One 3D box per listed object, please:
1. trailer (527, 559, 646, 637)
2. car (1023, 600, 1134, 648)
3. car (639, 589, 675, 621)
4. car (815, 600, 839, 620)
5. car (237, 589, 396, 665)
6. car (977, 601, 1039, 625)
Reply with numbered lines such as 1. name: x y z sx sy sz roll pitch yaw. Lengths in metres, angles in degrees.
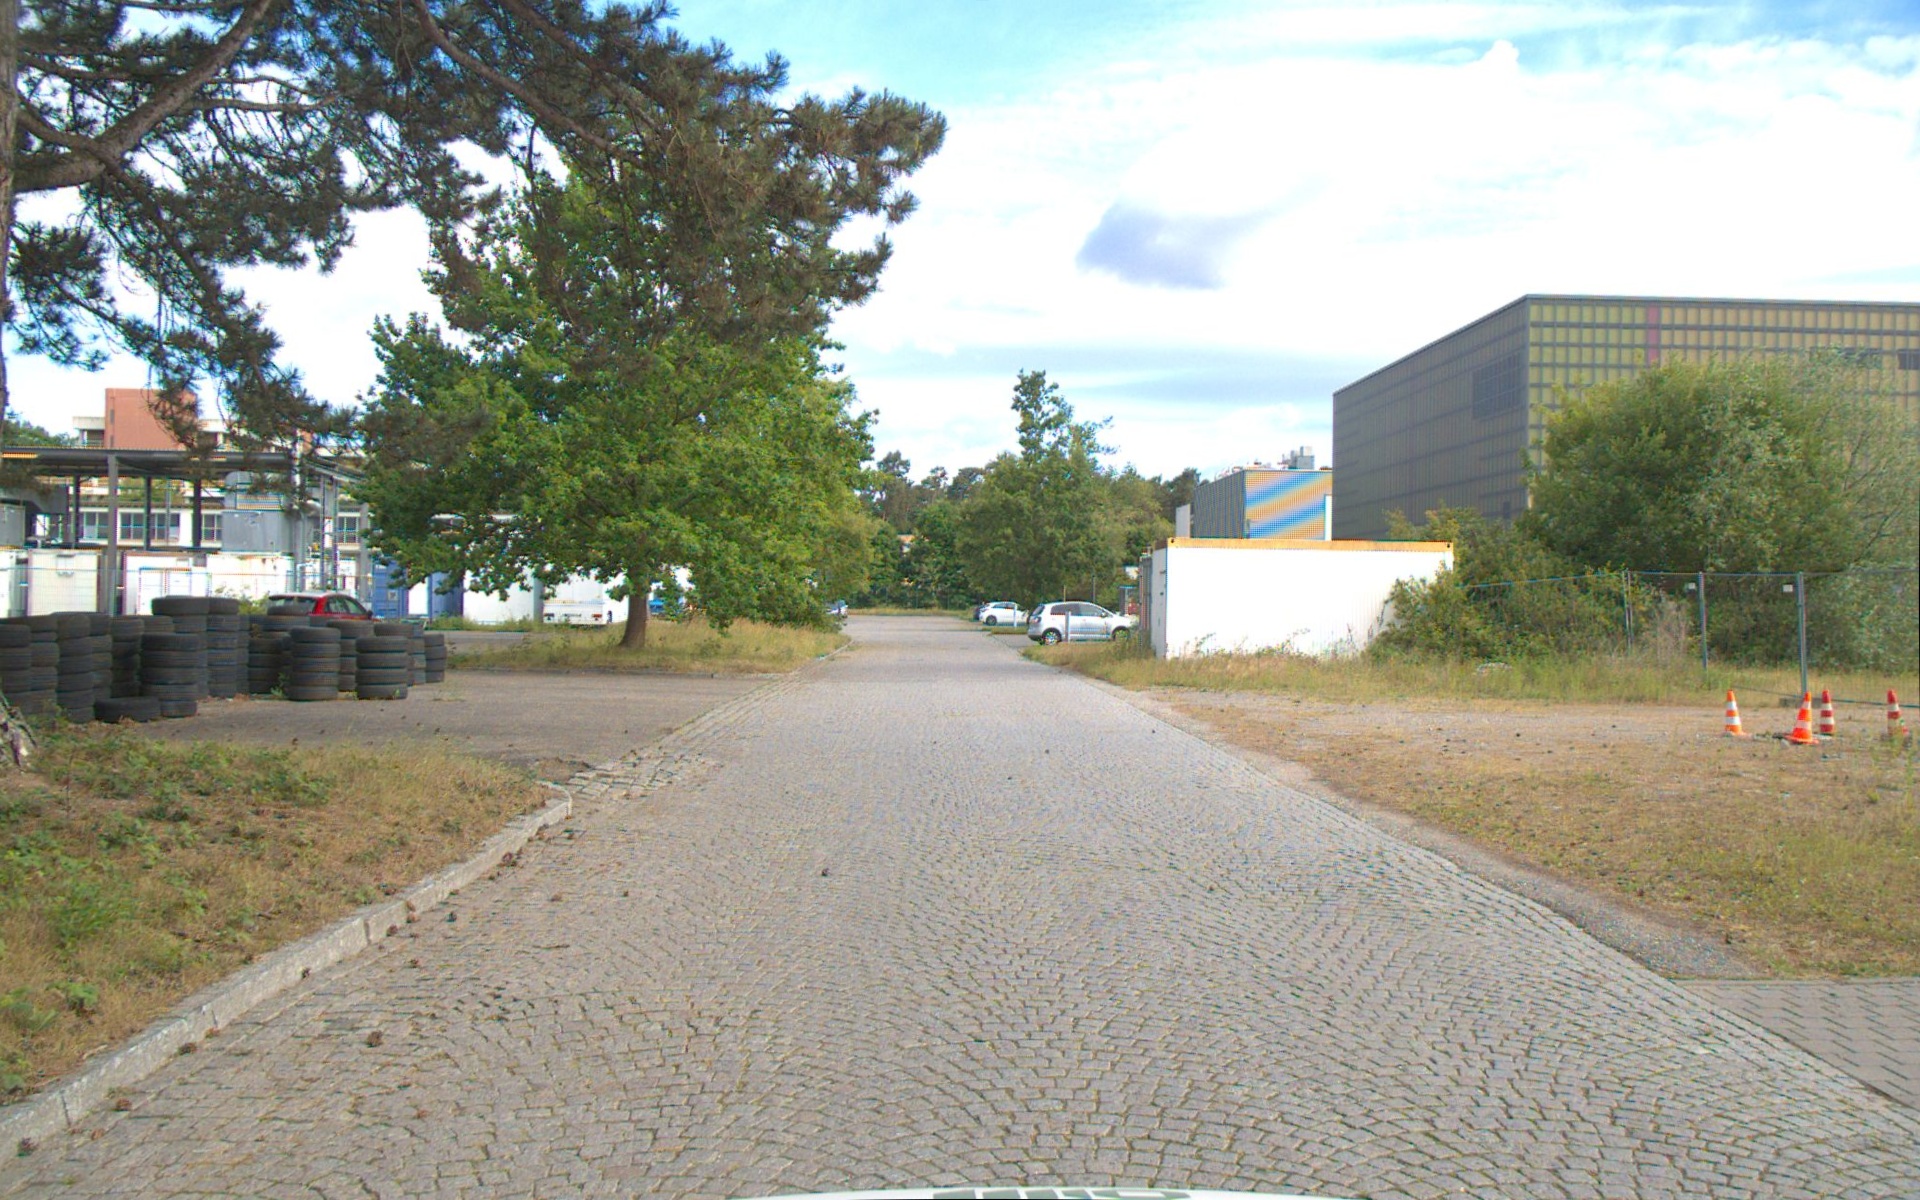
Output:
1. trailer: -16.042 -0.068 71.699 3.094 3.121 8.783 1 0 0
2. car: 4.253 0.862 59.737 3.774 1.683 1.685 1 0 -5
3. car: -20.520 0.340 112.262 1.887 2.083 4.596 1 0 -4
4. car: -10.010 0.761 124.458 1.701 1.495 4.042 1 0 -4
5. car: -13.273 0.539 34.332 1.730 1.478 3.490 1 0 4
6. car: 3.055 0.834 105.859 3.943 1.528 1.548 1 0 -1
